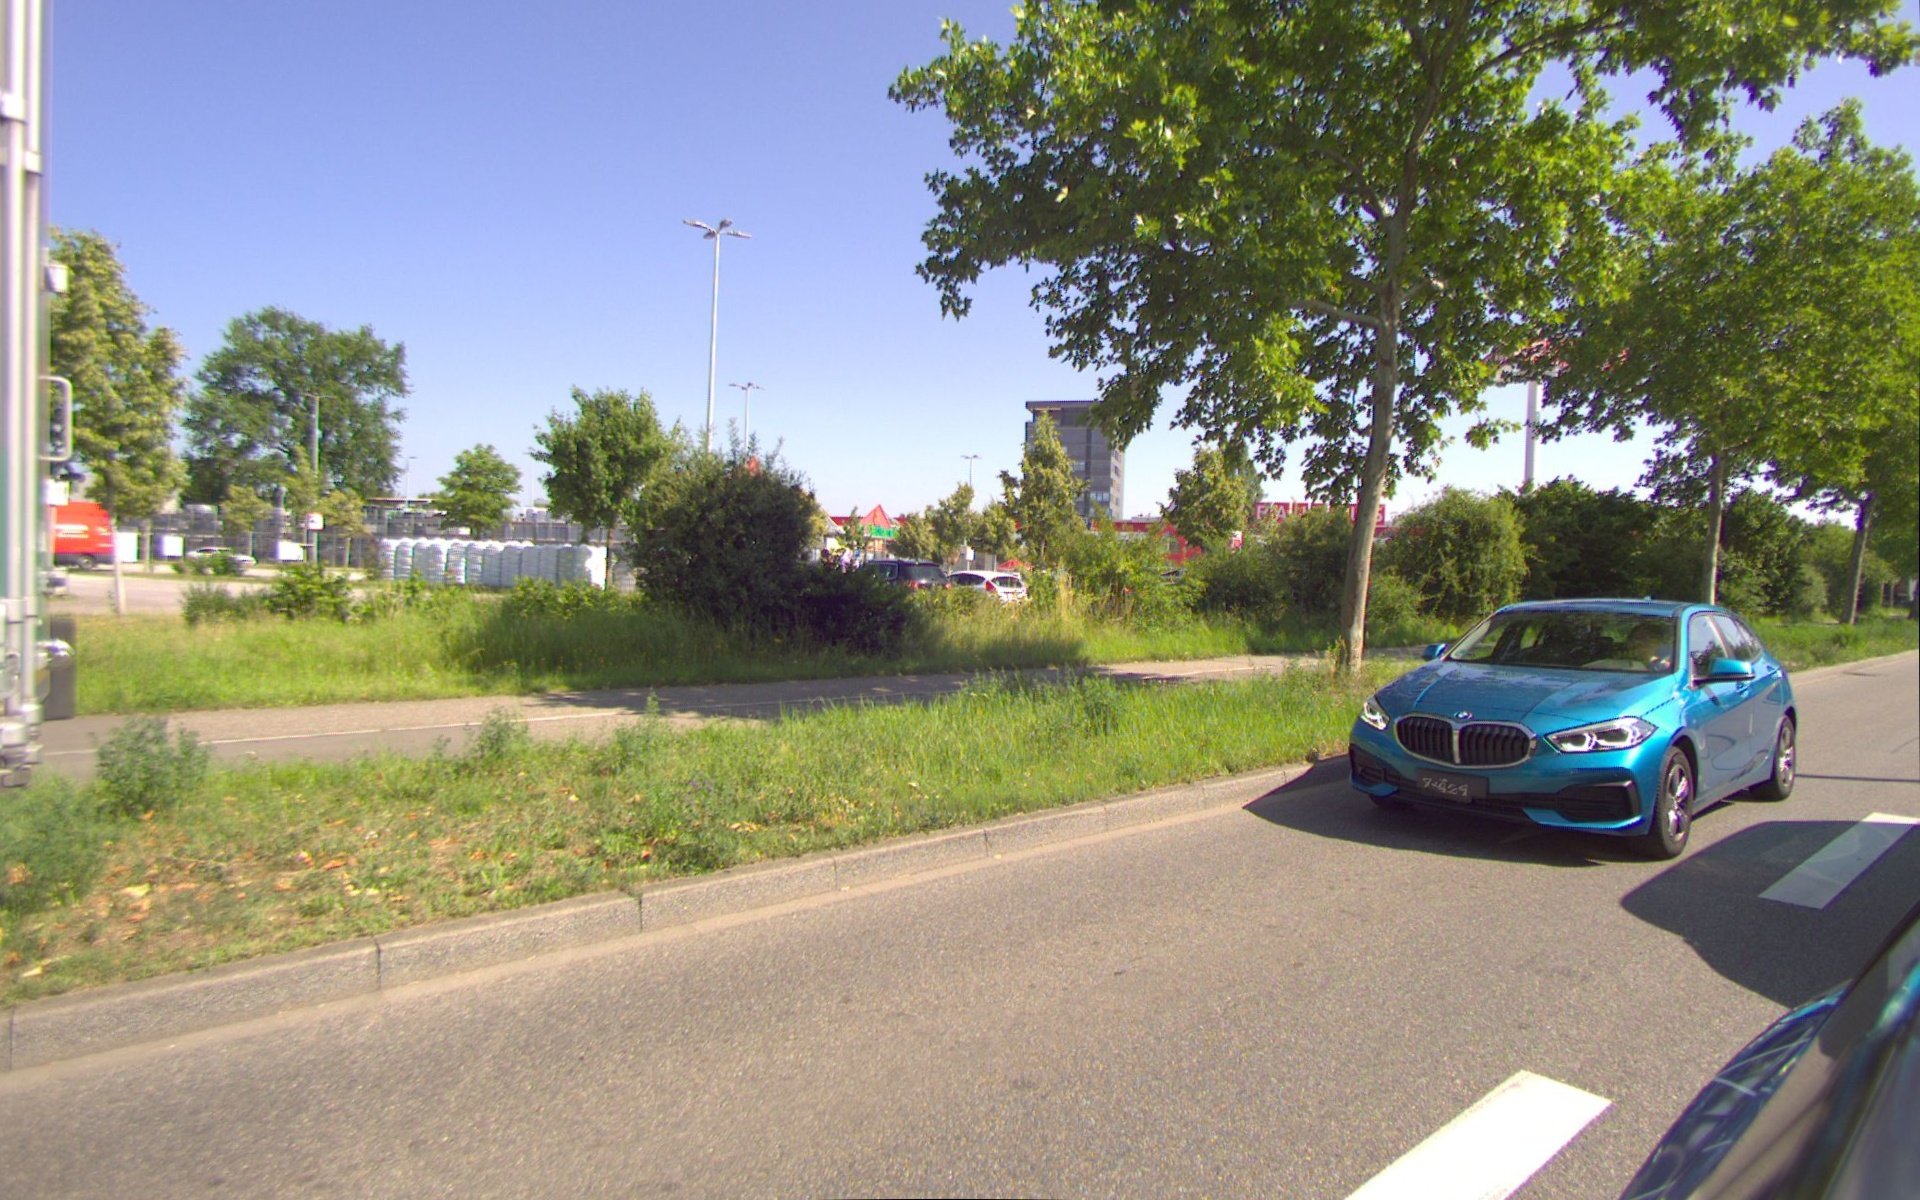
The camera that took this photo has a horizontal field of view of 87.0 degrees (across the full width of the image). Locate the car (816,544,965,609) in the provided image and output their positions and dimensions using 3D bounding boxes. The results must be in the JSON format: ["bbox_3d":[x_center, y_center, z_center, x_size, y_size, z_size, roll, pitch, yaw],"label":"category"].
[{"bbox_3d":[-1.922,-0.601,27.110,1.850,1.611,4.075,-1,1,-43],"label":"car"}]

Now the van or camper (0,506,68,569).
[{"bbox_3d":[-48.130,-3.088,49.220,1.971,2.979,7.253,0,1,15],"label":"van or camper"}]

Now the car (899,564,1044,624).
[{"bbox_3d":[0.271,-0.176,29.061,1.850,1.611,4.075,-1,1,-43],"label":"car"}]

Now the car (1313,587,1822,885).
[{"bbox_3d":[4.397,0.652,7.070,4.058,1.437,1.871,0,2,-41],"label":"car"}]

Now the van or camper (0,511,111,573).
[{"bbox_3d":[-44.697,-2.711,47.809,1.971,2.739,7.253,0,1,15],"label":"van or camper"}]
